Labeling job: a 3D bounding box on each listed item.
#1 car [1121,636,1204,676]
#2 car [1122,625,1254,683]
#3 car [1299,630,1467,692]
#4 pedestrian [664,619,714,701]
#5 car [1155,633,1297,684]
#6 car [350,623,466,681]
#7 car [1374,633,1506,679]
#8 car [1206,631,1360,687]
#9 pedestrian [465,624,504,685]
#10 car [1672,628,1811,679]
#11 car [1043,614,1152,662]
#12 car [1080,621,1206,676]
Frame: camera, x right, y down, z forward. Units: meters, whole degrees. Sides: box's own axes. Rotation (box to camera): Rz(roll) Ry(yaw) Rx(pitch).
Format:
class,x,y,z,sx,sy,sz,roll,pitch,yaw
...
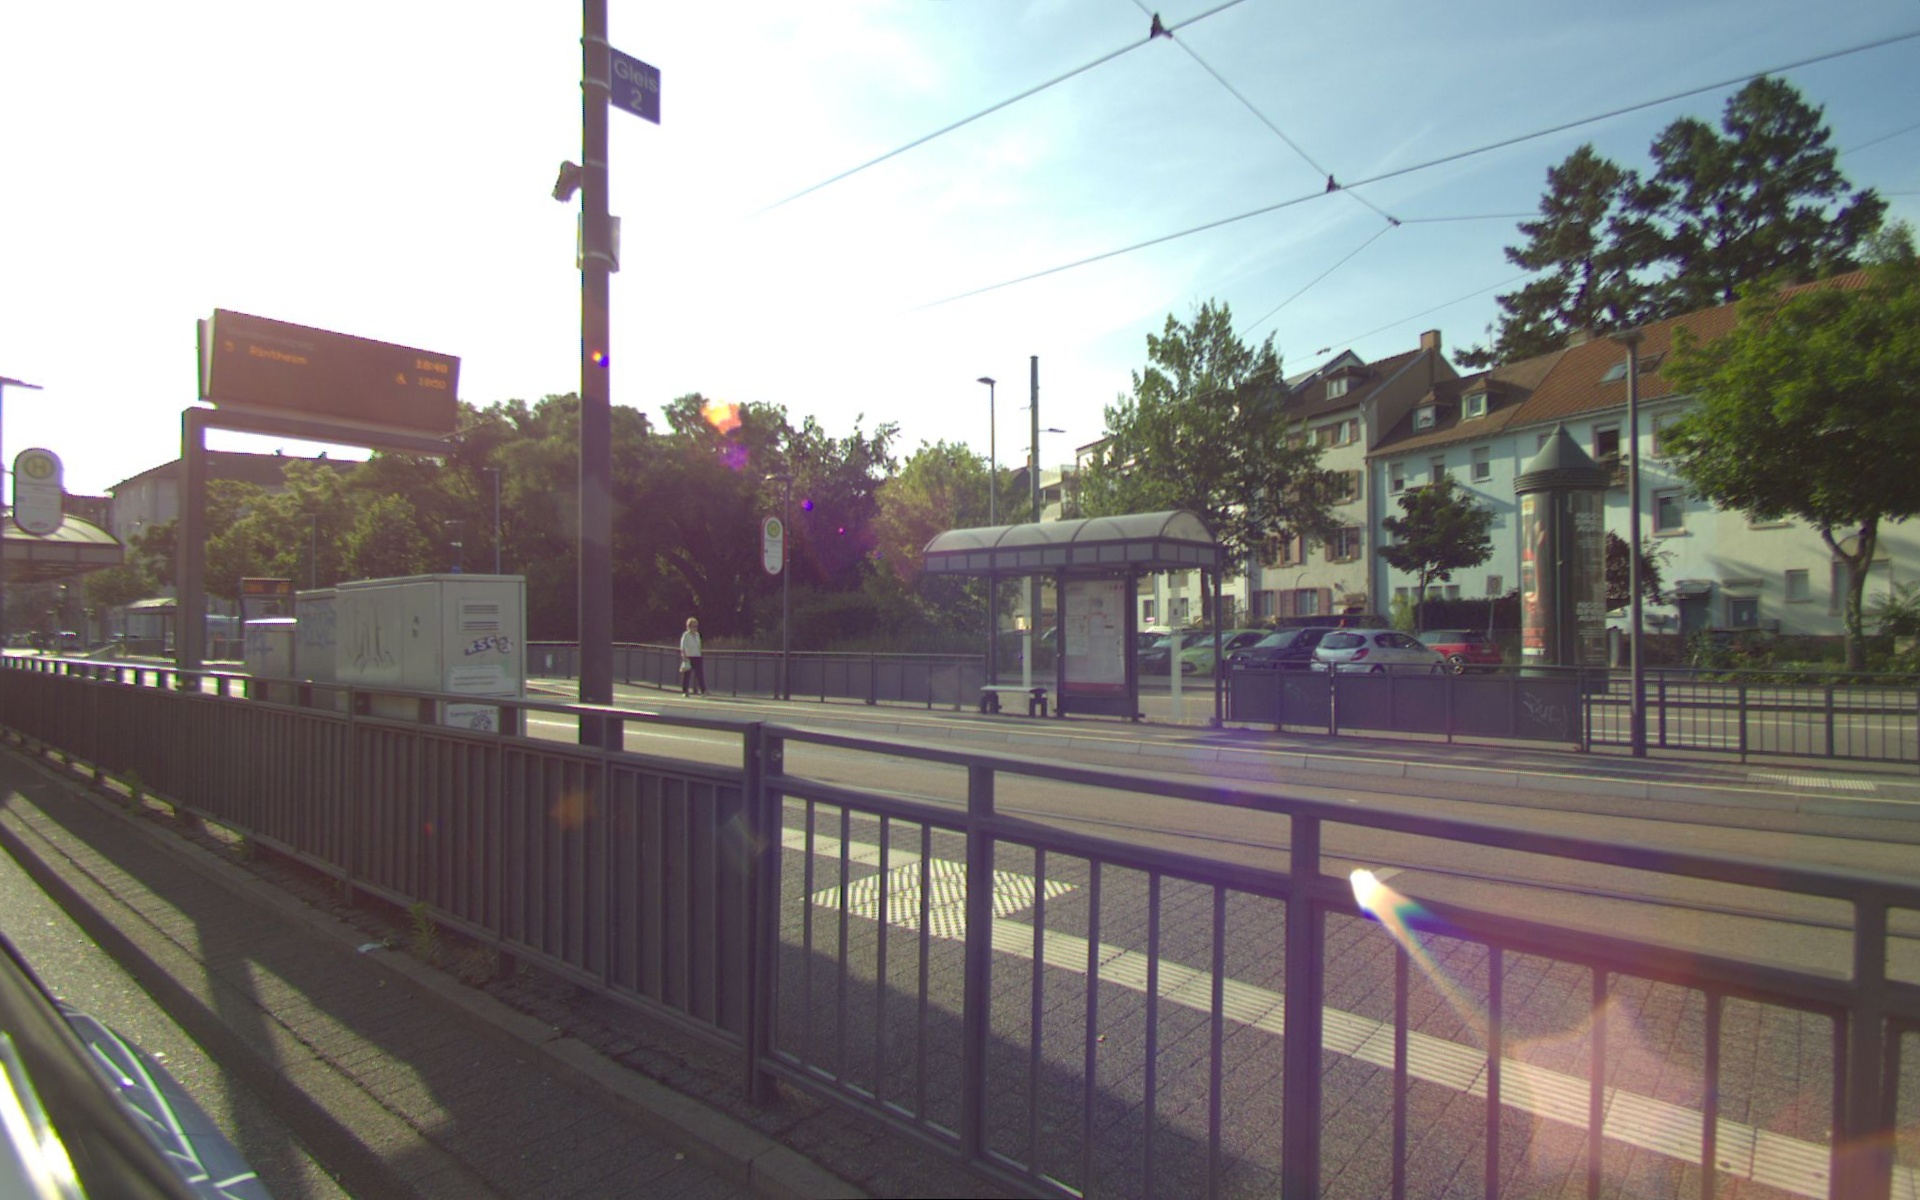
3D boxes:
class,x,y,z,sx,sy,sz,roll,pitch,yaw
car,9.608,2.641,48.312,1.786,1.814,4.013,1,-3,-27
car,7.324,1.706,32.481,3.932,1.767,1.860,1,-3,-31
car,10.590,1.476,25.318,3.931,1.439,1.778,1,-2,-29
pedestrian,-5.543,1.220,20.721,0.727,1.640,0.699,-2,-3,40
car,7.979,1.709,30.327,3.931,1.439,1.778,1,-2,-29
car,-21.002,1.936,38.403,5.384,2.029,2.123,-2,-3,41
car,15.986,1.830,33.916,1.523,1.437,3.877,1,-2,-26
car,8.873,1.570,27.760,3.931,1.439,1.778,1,-2,-29
pedestrian,-13.071,1.484,27.805,0.689,1.640,0.727,-2,-3,40
car,25.153,1.688,32.569,3.930,1.570,1.862,1,-2,-24
car,5.384,1.485,39.552,3.932,1.767,1.860,1,-3,-31
car,6.196,1.623,34.173,3.932,1.767,1.860,1,-3,-31
